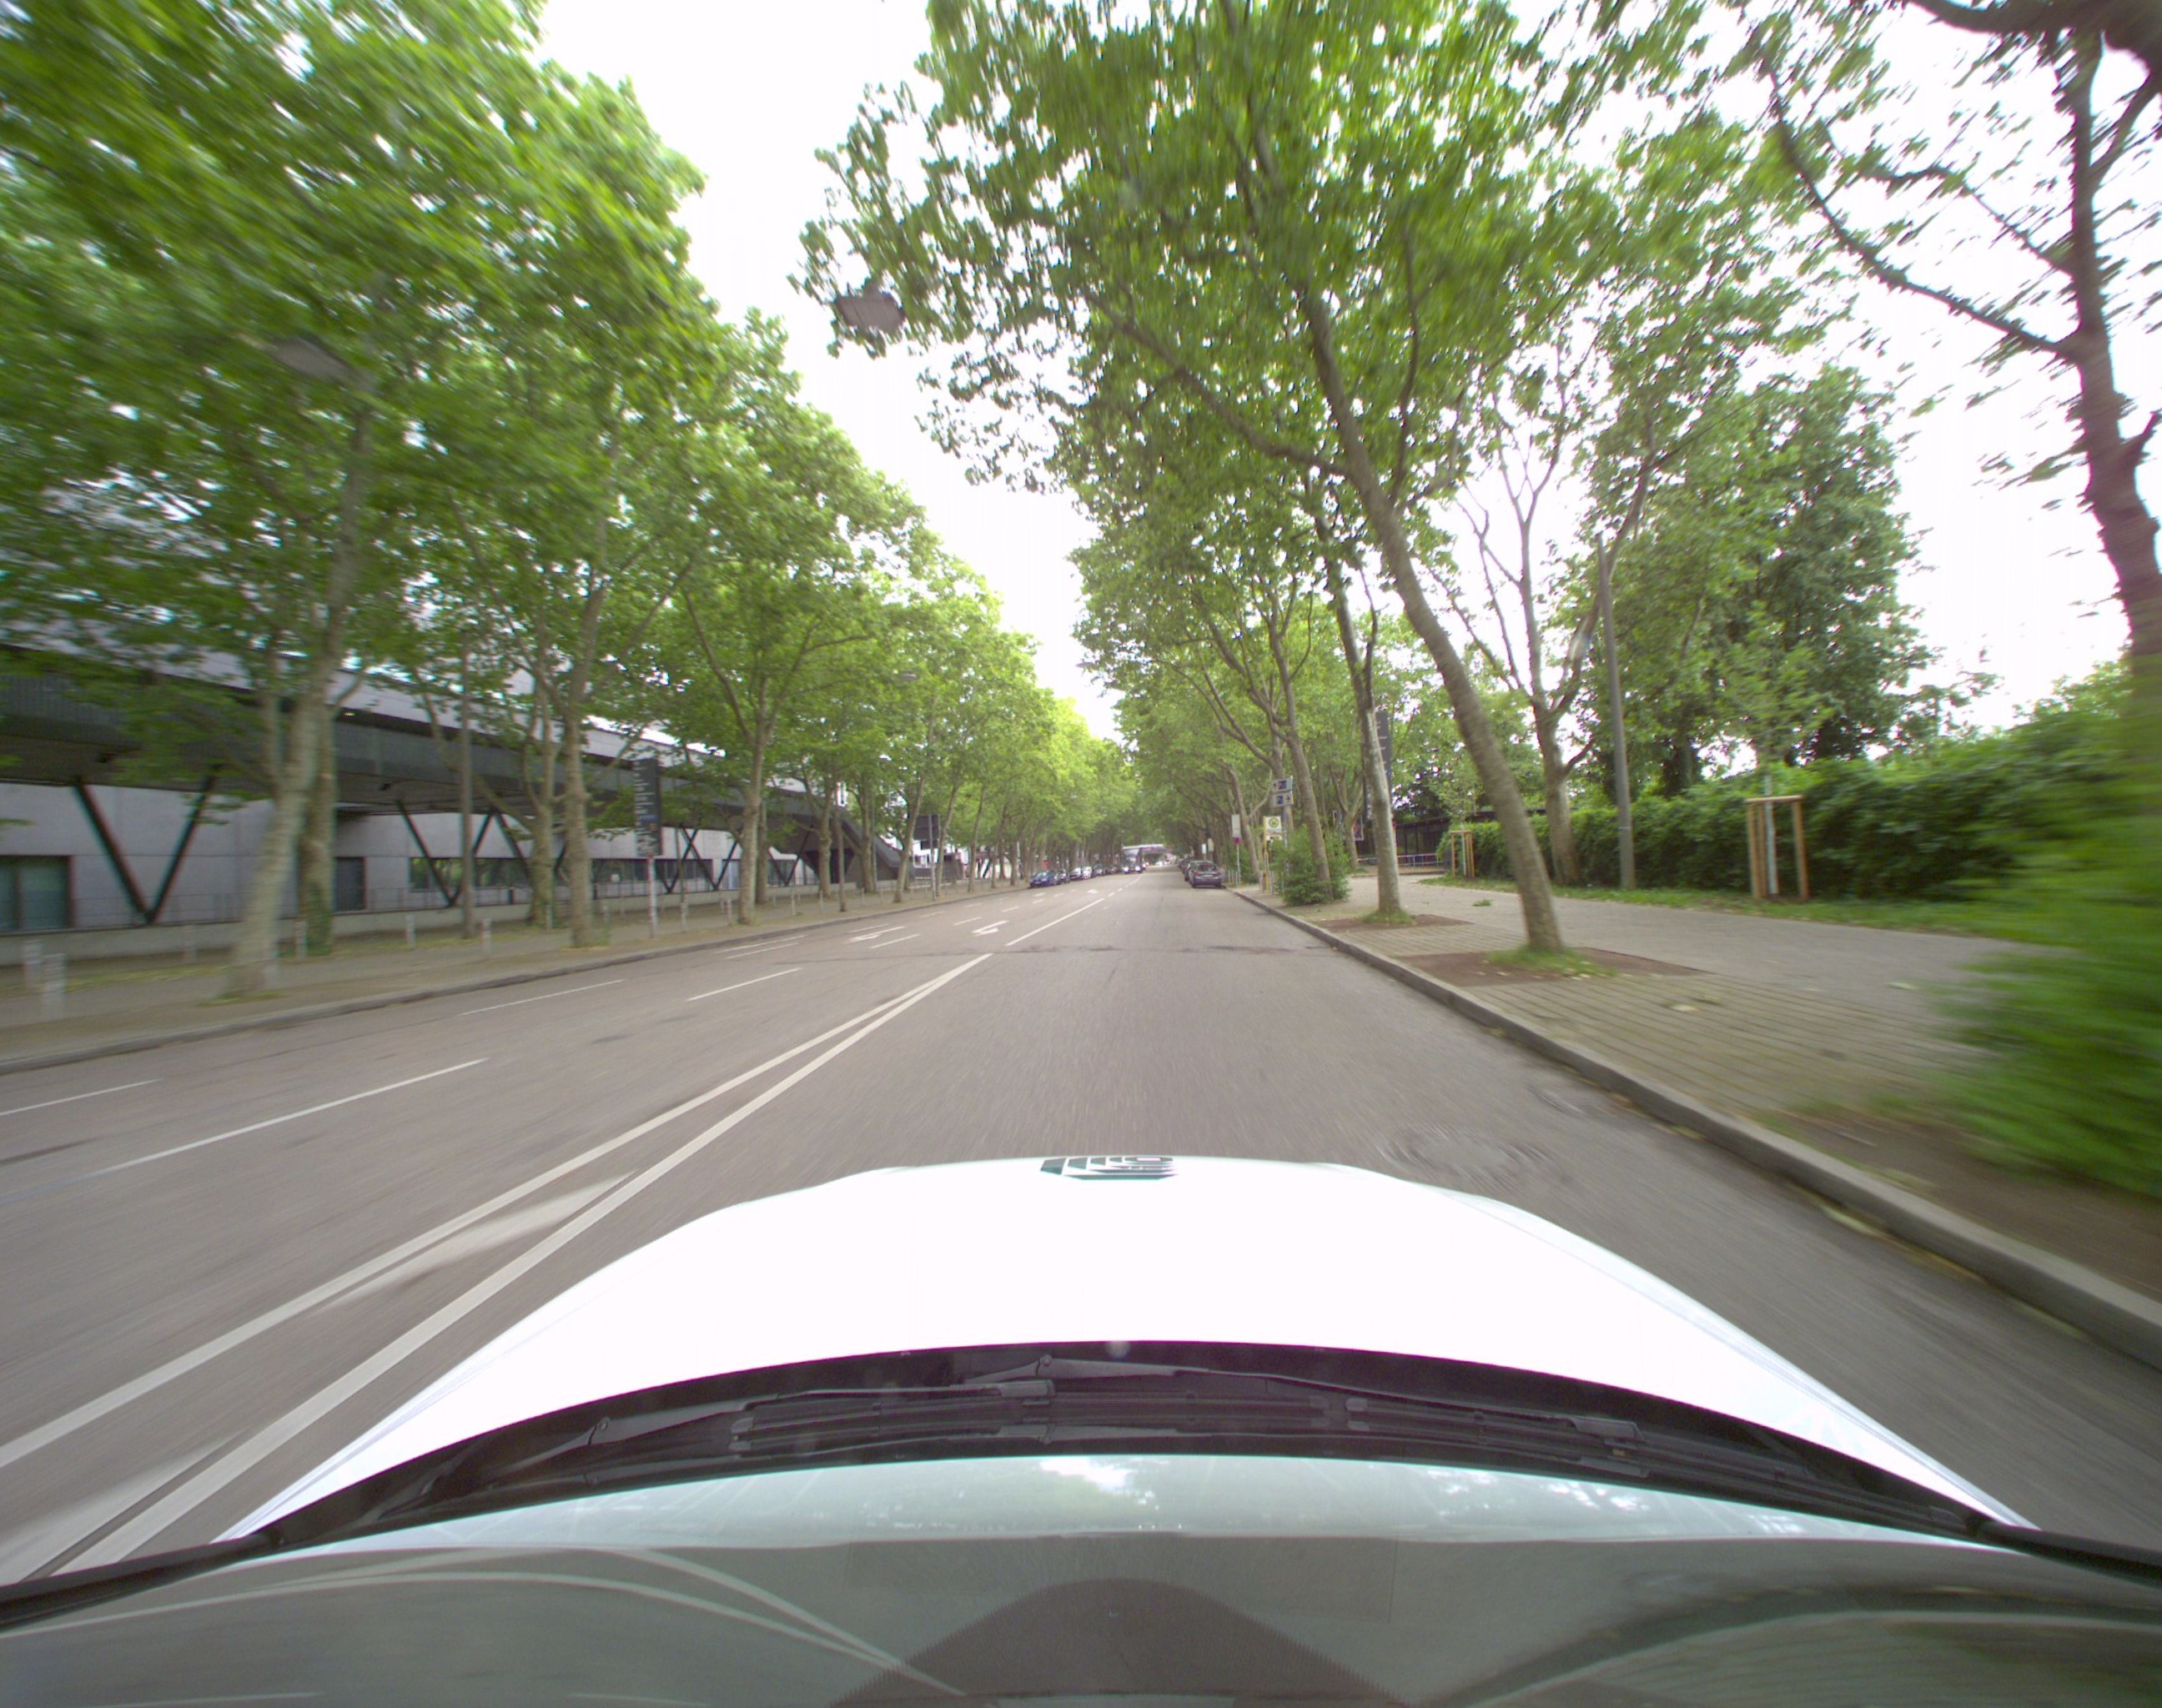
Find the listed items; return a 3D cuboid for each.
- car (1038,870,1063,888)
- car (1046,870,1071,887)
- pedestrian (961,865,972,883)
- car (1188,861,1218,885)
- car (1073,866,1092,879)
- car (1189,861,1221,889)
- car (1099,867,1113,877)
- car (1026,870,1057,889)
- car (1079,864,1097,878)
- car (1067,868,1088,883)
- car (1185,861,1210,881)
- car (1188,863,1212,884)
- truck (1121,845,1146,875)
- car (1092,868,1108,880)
[{"bbox_3d":[-2.742,2.246,72.970,1.758,1.418,3.764,-5,-2,3],"label":"car"},{"bbox_3d":[-2.128,2.296,77.362,1.757,1.418,3.767,-6,-2,6],"label":"car"},{"bbox_3d":[-11.687,2.027,83.260,0.774,1.835,0.870,-2,-1,-28],"label":"pedestrian"},{"bbox_3d":[8.121,1.252,54.535,1.711,1.567,4.099,1,-1,4],"label":"car"},{"bbox_3d":[0.161,2.221,94.755,1.724,1.332,4.006,-4,-3,6],"label":"car"},{"bbox_3d":[7.431,1.230,48.936,1.690,1.519,4.461,1,0,6],"label":"car"},{"bbox_3d":[3.961,2.785,126.992,1.886,1.438,4.004,-4,-3,5],"label":"car"},{"bbox_3d":[-3.289,2.118,68.192,1.685,1.418,3.772,-6,-2,10],"label":"car"},{"bbox_3d":[0.875,2.122,100.439,1.886,1.438,4.004,-4,-3,5],"label":"car"},{"bbox_3d":[-0.325,2.289,87.534,1.757,1.418,3.767,-6,-2,6],"label":"car"},{"bbox_3d":[9.110,1.353,64.070,1.747,1.490,4.424,1,-1,6],"label":"car"},{"bbox_3d":[8.719,1.390,59.624,1.666,1.490,3.695,1,-1,8],"label":"car"},{"bbox_3d":[7.674,0.884,117.983,2.626,3.902,9.562,-4,-1,9],"label":"truck"},{"bbox_3d":[2.743,2.822,114.689,1.886,1.438,4.004,-4,-3,5],"label":"car"}]
